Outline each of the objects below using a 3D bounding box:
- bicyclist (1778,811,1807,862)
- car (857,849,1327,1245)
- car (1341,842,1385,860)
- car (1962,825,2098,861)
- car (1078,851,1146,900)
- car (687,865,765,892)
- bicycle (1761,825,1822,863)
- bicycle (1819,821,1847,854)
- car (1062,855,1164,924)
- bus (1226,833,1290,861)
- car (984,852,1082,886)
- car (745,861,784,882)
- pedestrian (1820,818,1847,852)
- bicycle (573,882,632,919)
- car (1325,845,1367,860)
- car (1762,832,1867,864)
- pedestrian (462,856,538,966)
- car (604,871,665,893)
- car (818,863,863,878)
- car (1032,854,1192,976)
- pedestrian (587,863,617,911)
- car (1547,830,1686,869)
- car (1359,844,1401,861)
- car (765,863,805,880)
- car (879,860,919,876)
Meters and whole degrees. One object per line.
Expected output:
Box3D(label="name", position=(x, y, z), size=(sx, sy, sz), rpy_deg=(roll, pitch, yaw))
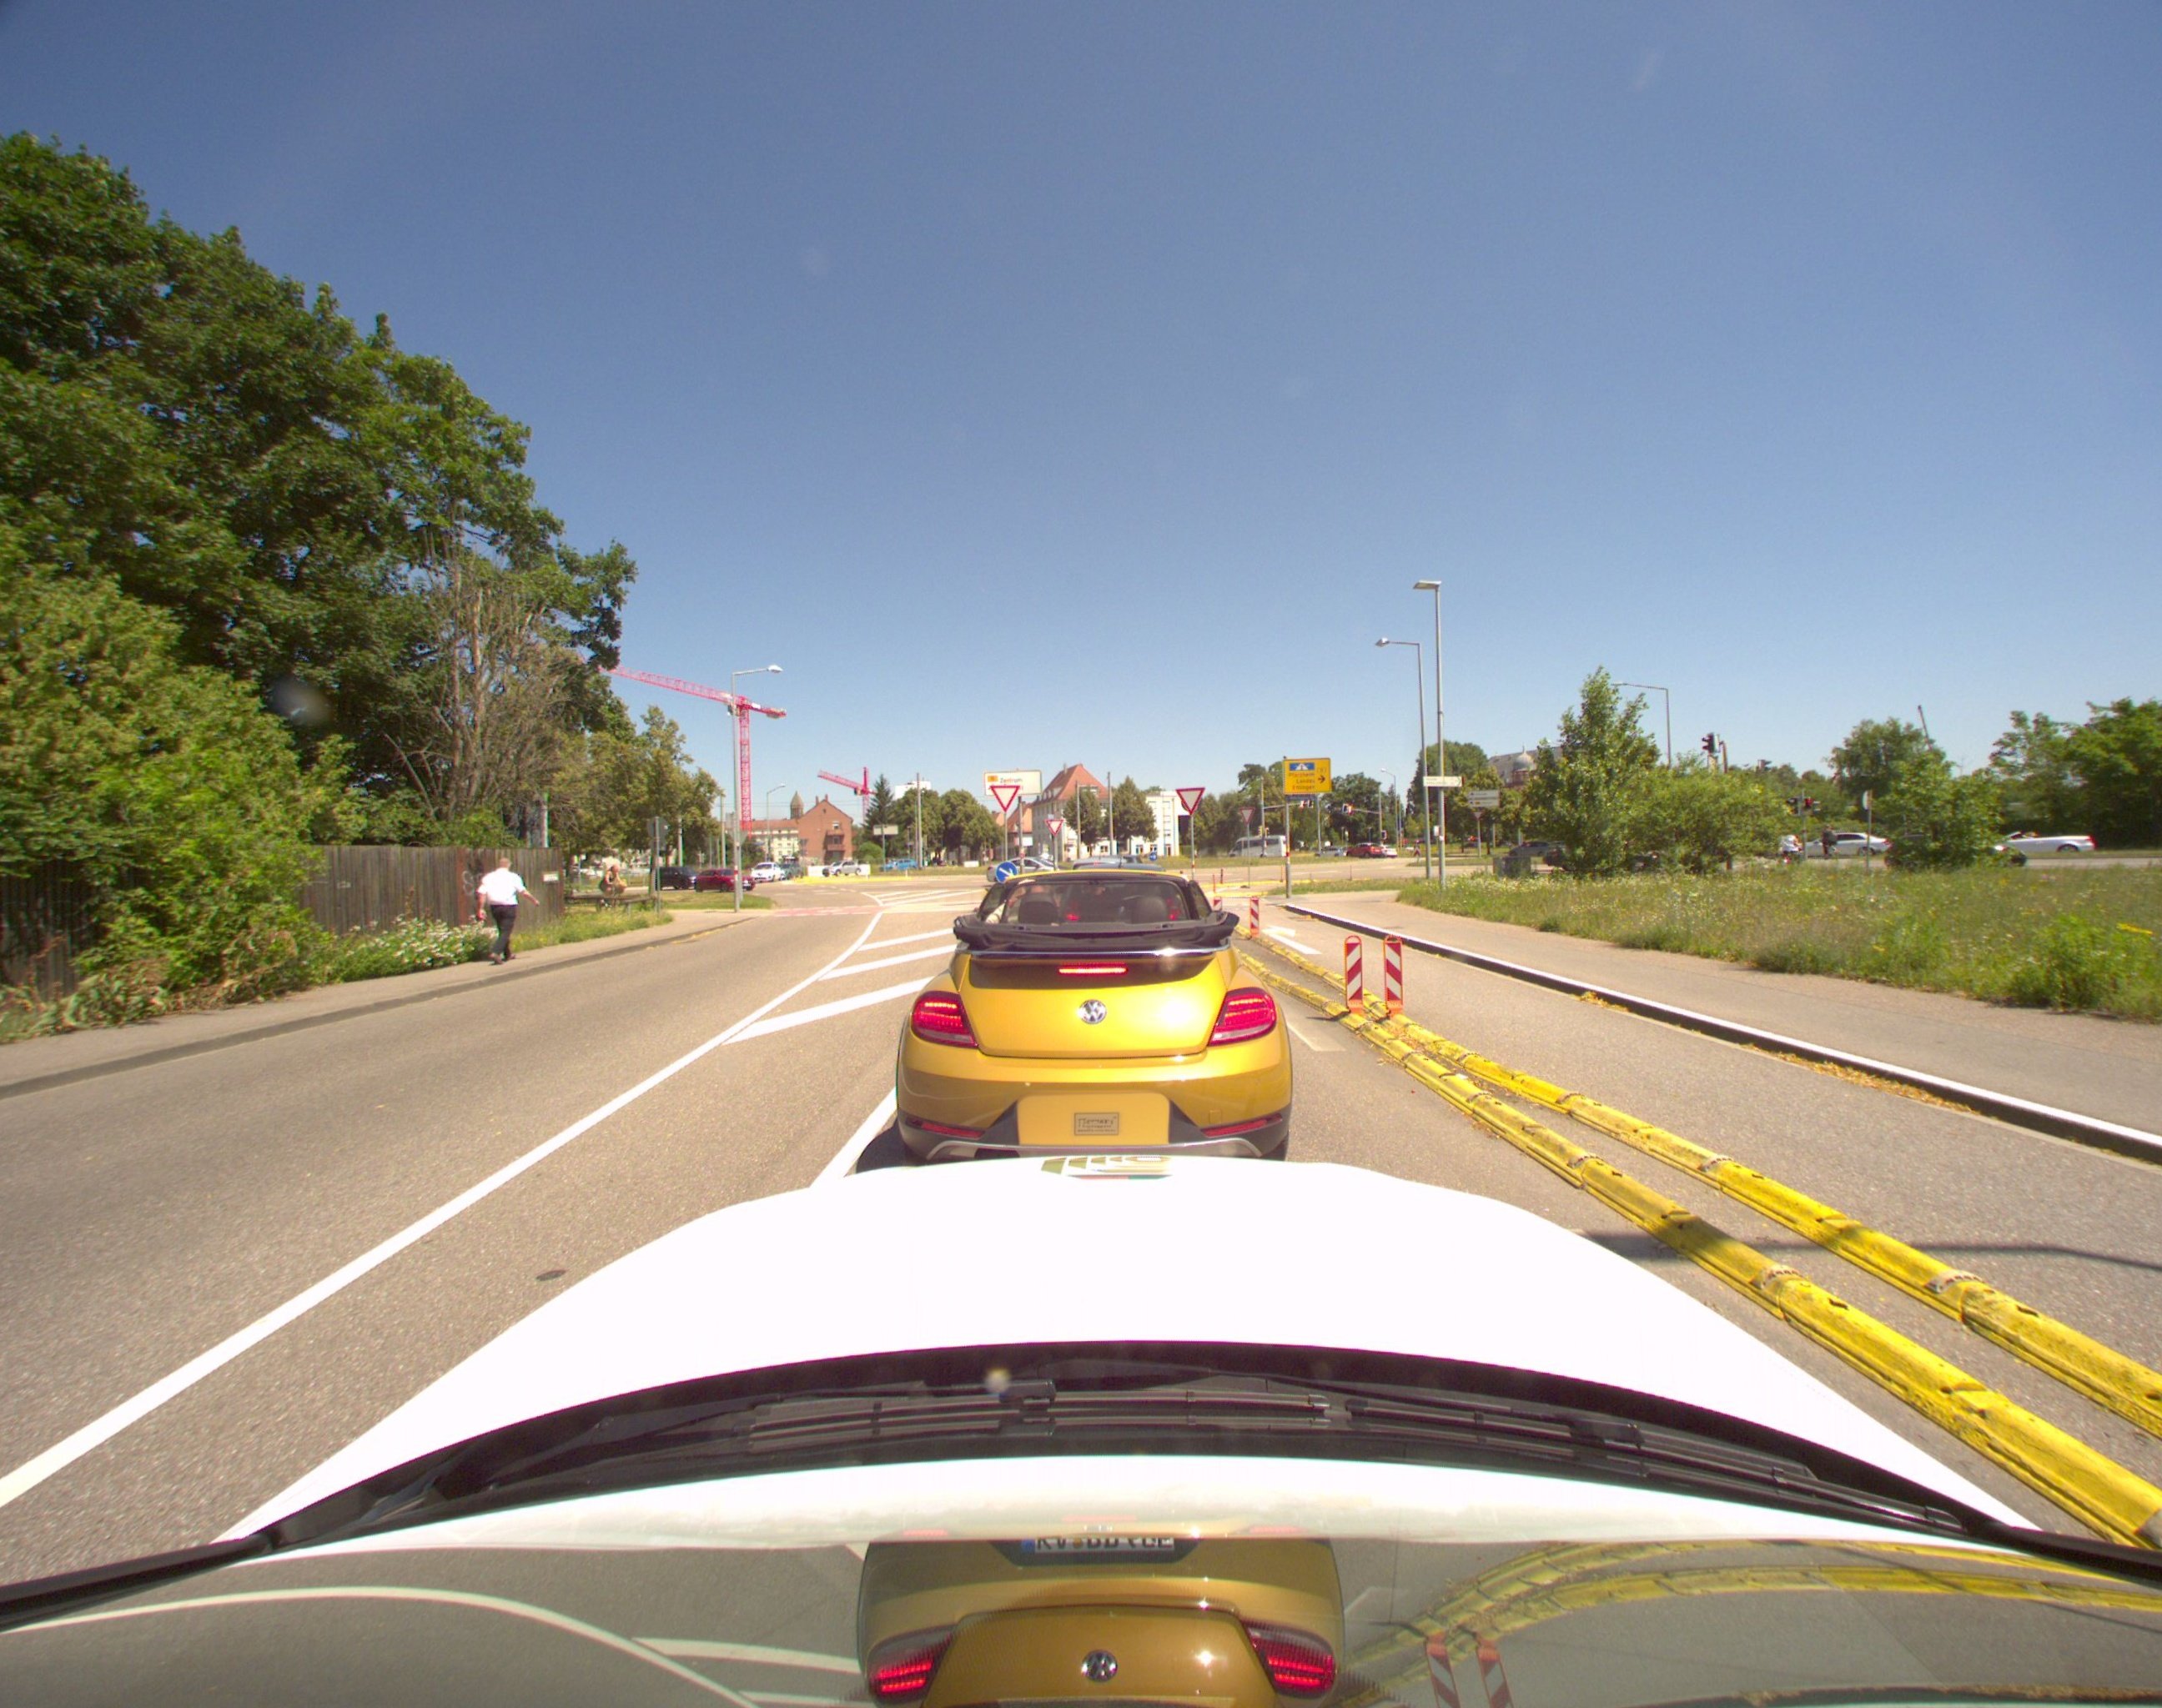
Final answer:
Box3D(label="bicyclist", position=(25.761, -0.616, 29.503), size=(0.573, 1.841, 0.603), rpy_deg=(0, -1, -29))
Box3D(label="car", position=(0.103, 0.743, 5.195), size=(1.758, 1.481, 4.259), rpy_deg=(0, -1, 2))
Box3D(label="car", position=(28.969, -0.267, 83.756), size=(1.851, 1.736, 4.409), rpy_deg=(0, -1, -24))
Box3D(label="car", position=(49.377, -0.535, 42.529), size=(4.389, 1.736, 1.860), rpy_deg=(-1, -1, 43))
Box3D(label="car", position=(1.044, 0.672, 27.797), size=(2.057, 1.481, 4.545), rpy_deg=(-2, 0, 2))
Box3D(label="car", position=(-21.309, 1.452, 48.841), size=(4.363, 1.527, 2.012), rpy_deg=(-1, -1, 29))
Box3D(label="bicycle", position=(25.770, -0.356, 29.508), size=(2.902, 1.353, 0.635), rpy_deg=(0, -1, -28))
Box3D(label="bicycle", position=(38.004, -0.823, 41.147), size=(0.972, 1.597, 2.900), rpy_deg=(-1, -1, 43))
Box3D(label="car", position=(0.723, 0.743, 18.691), size=(2.057, 1.382, 4.259), rpy_deg=(0, 0, 2))
Box3D(label="bus", position=(21.356, -0.809, 98.482), size=(7.182, 3.172, 2.275), rpy_deg=(-1, -1, 35))
Box3D(label="car", position=(-2.360, 0.737, 40.402), size=(4.371, 1.527, 2.009), rpy_deg=(-2, 0, 16))
Box3D(label="car", position=(-24.801, 1.344, 63.934), size=(1.773, 1.527, 3.866), rpy_deg=(-2, 0, -5))
Box3D(label="pedestrian", position=(37.905, -0.952, 41.038), size=(0.959, 1.660, 0.892), rpy_deg=(-1, -1, 44))
Box3D(label="bicycle", position=(-16.988, 1.644, 28.893), size=(1.830, 1.231, 0.615), rpy_deg=(-3, -1, 12))
Box3D(label="car", position=(31.715, -0.175, 97.565), size=(1.858, 1.736, 4.392), rpy_deg=(0, -1, -40))
Box3D(label="car", position=(41.735, -0.295, 46.419), size=(4.389, 1.736, 1.860), rpy_deg=(-1, -1, 43))
Box3D(label="pedestrian", position=(-9.823, 0.929, 13.803), size=(0.635, 1.786, 0.967), rpy_deg=(0, -1, -5))
Box3D(label="car", position=(-34.183, 2.117, 62.356), size=(4.363, 1.595, 2.012), rpy_deg=(-1, -1, 29))
Box3D(label="car", position=(-23.349, 1.560, 79.200), size=(1.711, 1.402, 4.297), rpy_deg=(-1, -1, 29))
Box3D(label="car", position=(0.428, 0.721, 11.747), size=(1.844, 1.366, 4.260), rpy_deg=(-2, 0, 2))
Box3D(label="pedestrian", position=(-16.984, 1.167, 28.880), size=(0.728, 1.691, 0.577), rpy_deg=(-1, -1, 11))
Box3D(label="car", position=(25.030, -0.181, 38.351), size=(5.264, 1.736, 2.012), rpy_deg=(-1, -1, 26))
Box3D(label="car", position=(32.176, -0.174, 87.745), size=(1.795, 1.772, 3.955), rpy_deg=(0, -1, -38))
Box3D(label="car", position=(-25.305, 1.497, 69.707), size=(1.740, 1.371, 4.332), rpy_deg=(0, 0, 1))
Box3D(label="car", position=(-20.366, 1.561, 91.361), size=(4.020, 1.772, 1.854), rpy_deg=(0, -1, -40))
